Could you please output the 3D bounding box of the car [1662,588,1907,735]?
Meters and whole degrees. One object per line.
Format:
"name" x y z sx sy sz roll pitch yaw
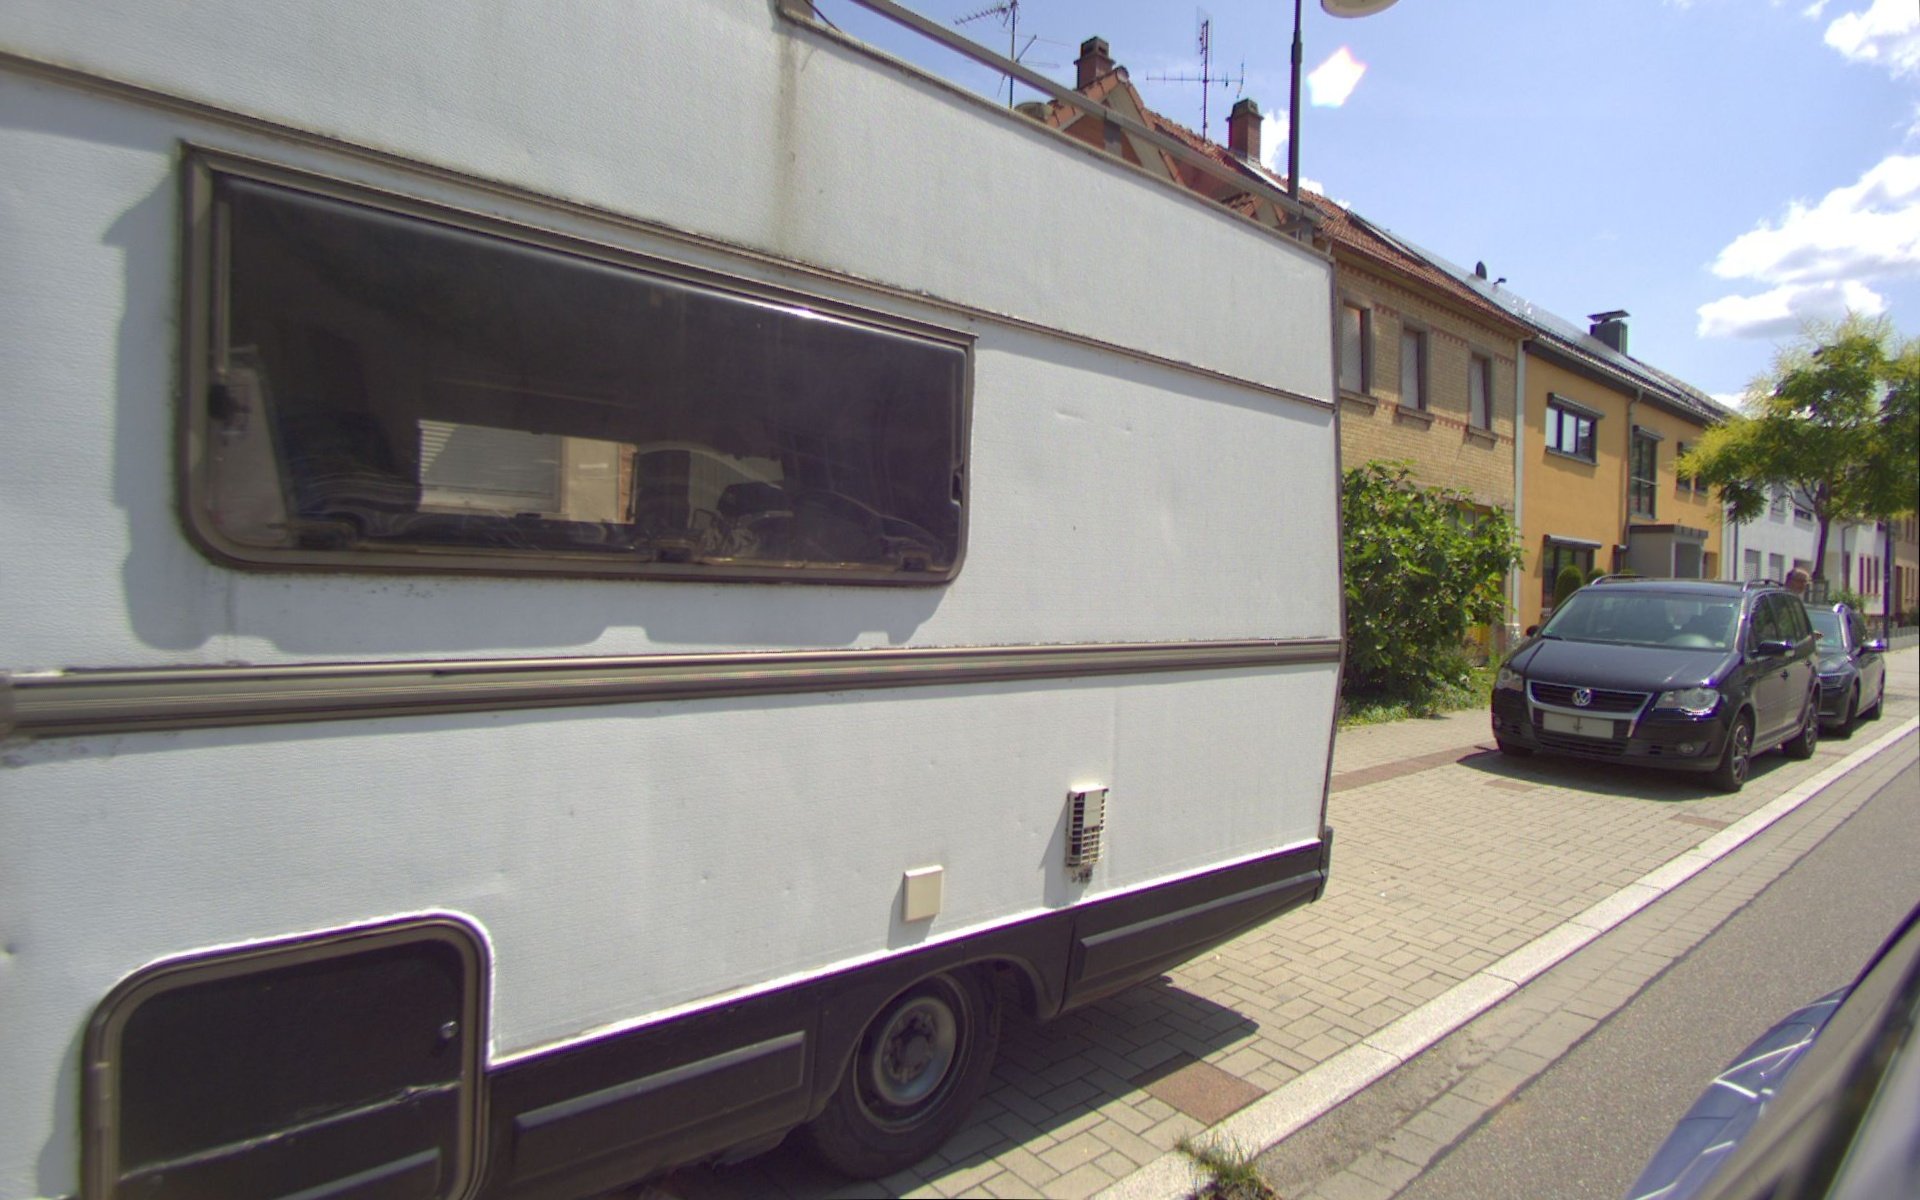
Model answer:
"car" 10.351 0.629 12.586 4.223 1.507 1.769 0 1 -43

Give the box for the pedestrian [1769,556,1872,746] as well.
"pedestrian" 8.901 0.497 10.473 0.568 1.876 0.718 0 0 -40

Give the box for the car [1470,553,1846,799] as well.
"car" 6.458 0.519 9.172 4.248 1.726 1.770 0 1 -40

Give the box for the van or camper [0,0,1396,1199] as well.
"van or camper" -1.455 -0.100 2.648 5.689 2.845 2.478 1 2 -41
